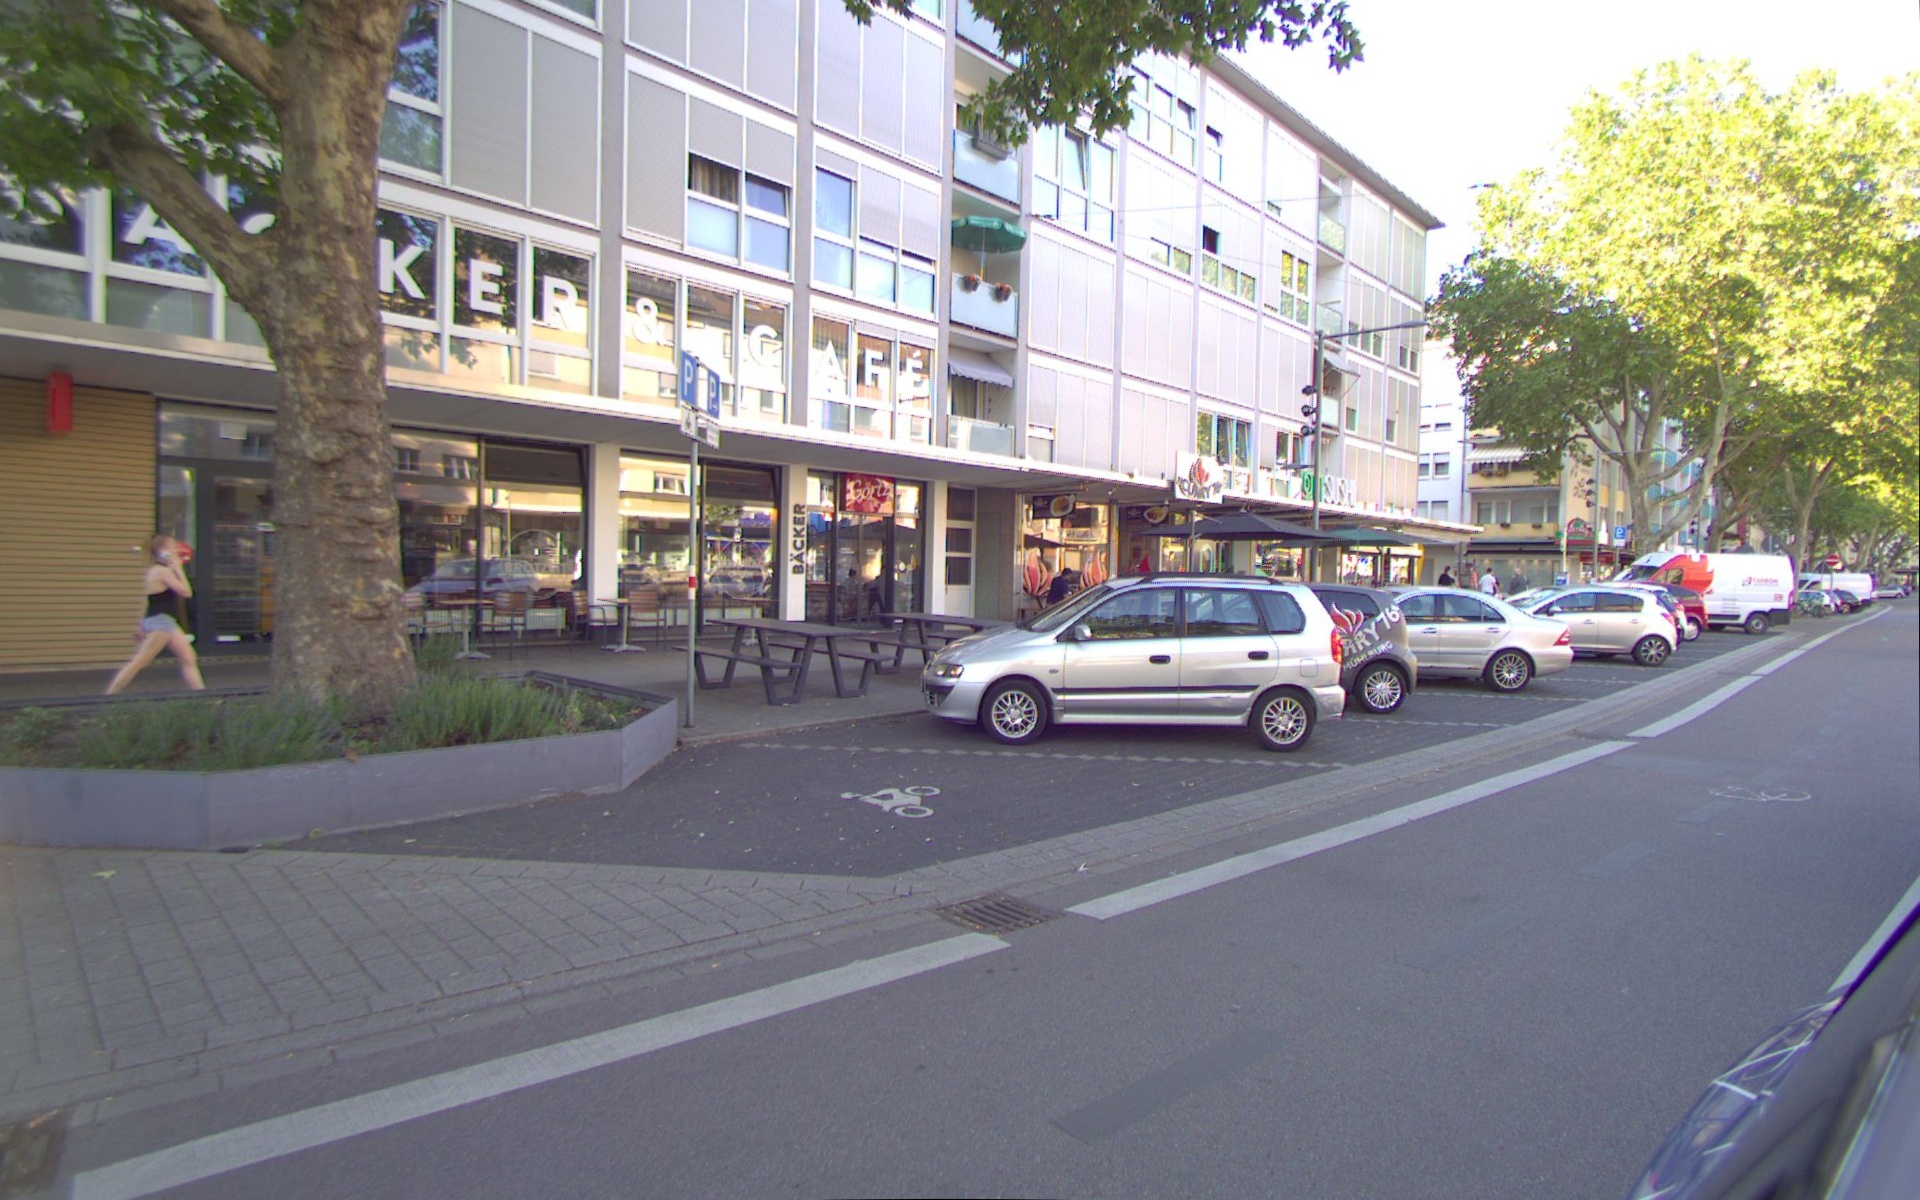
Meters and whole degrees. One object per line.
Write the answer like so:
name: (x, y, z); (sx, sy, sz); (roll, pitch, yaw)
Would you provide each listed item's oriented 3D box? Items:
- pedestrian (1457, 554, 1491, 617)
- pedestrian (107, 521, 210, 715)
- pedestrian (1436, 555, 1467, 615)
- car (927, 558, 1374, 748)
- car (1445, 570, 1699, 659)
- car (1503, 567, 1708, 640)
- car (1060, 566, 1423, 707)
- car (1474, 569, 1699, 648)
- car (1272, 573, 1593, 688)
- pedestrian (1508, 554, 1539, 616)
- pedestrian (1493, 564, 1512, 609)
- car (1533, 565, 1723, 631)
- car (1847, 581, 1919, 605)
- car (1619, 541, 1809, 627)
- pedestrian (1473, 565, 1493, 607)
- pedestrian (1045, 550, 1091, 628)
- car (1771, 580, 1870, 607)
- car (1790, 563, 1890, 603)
pedestrian: (16.880, -0.485, 33.252); (0.746, 2.038, 0.752); (2, 2, 45)
pedestrian: (-6.891, 0.134, 8.705); (0.559, 1.596, 0.632); (2, 2, 44)
pedestrian: (16.599, -0.521, 34.162); (0.746, 2.000, 0.566); (2, 2, 45)
car: (1.677, 0.446, 9.821); (3.906, 1.560, 1.679); (2, 3, -3)
car: (11.870, 0.251, 19.819); (3.871, 1.446, 1.559); (3, 3, 4)
car: (15.965, 0.034, 25.246); (3.888, 1.445, 1.669); (4, 5, 17)
car: (3.298, 0.396, 12.346); (3.864, 1.446, 1.679); (2, 3, -3)
car: (13.917, 0.140, 22.719); (3.886, 1.446, 1.670); (3, 3, 16)
car: (6.782, 0.397, 14.820); (3.867, 1.418, 1.598); (2, 3, 1)
pedestrian: (18.819, -0.516, 33.790); (0.746, 2.038, 0.550); (2, 2, 45)
pedestrian: (21.230, -0.543, 39.607); (0.544, 1.741, 0.450); (2, 2, 45)
car: (18.102, -0.098, 27.629); (3.888, 1.445, 1.669); (3, 5, 17)
car: (56.667, -0.402, 61.446); (3.864, 1.350, 1.782); (1, 2, 3)
car: (23.799, -0.522, 32.069); (4.514, 2.525, 1.675); (2, 1, 5)
pedestrian: (20.722, -0.548, 40.111); (0.536, 1.660, 0.470); (2, 2, 45)
pedestrian: (2.272, -0.242, 21.365); (0.757, 1.602, 0.583); (0, 2, -39)
car: (48.081, -0.379, 56.612); (3.864, 1.422, 1.782); (1, 2, 3)
car: (56.561, -1.106, 65.112); (4.512, 2.499, 1.977); (1, 2, 3)
